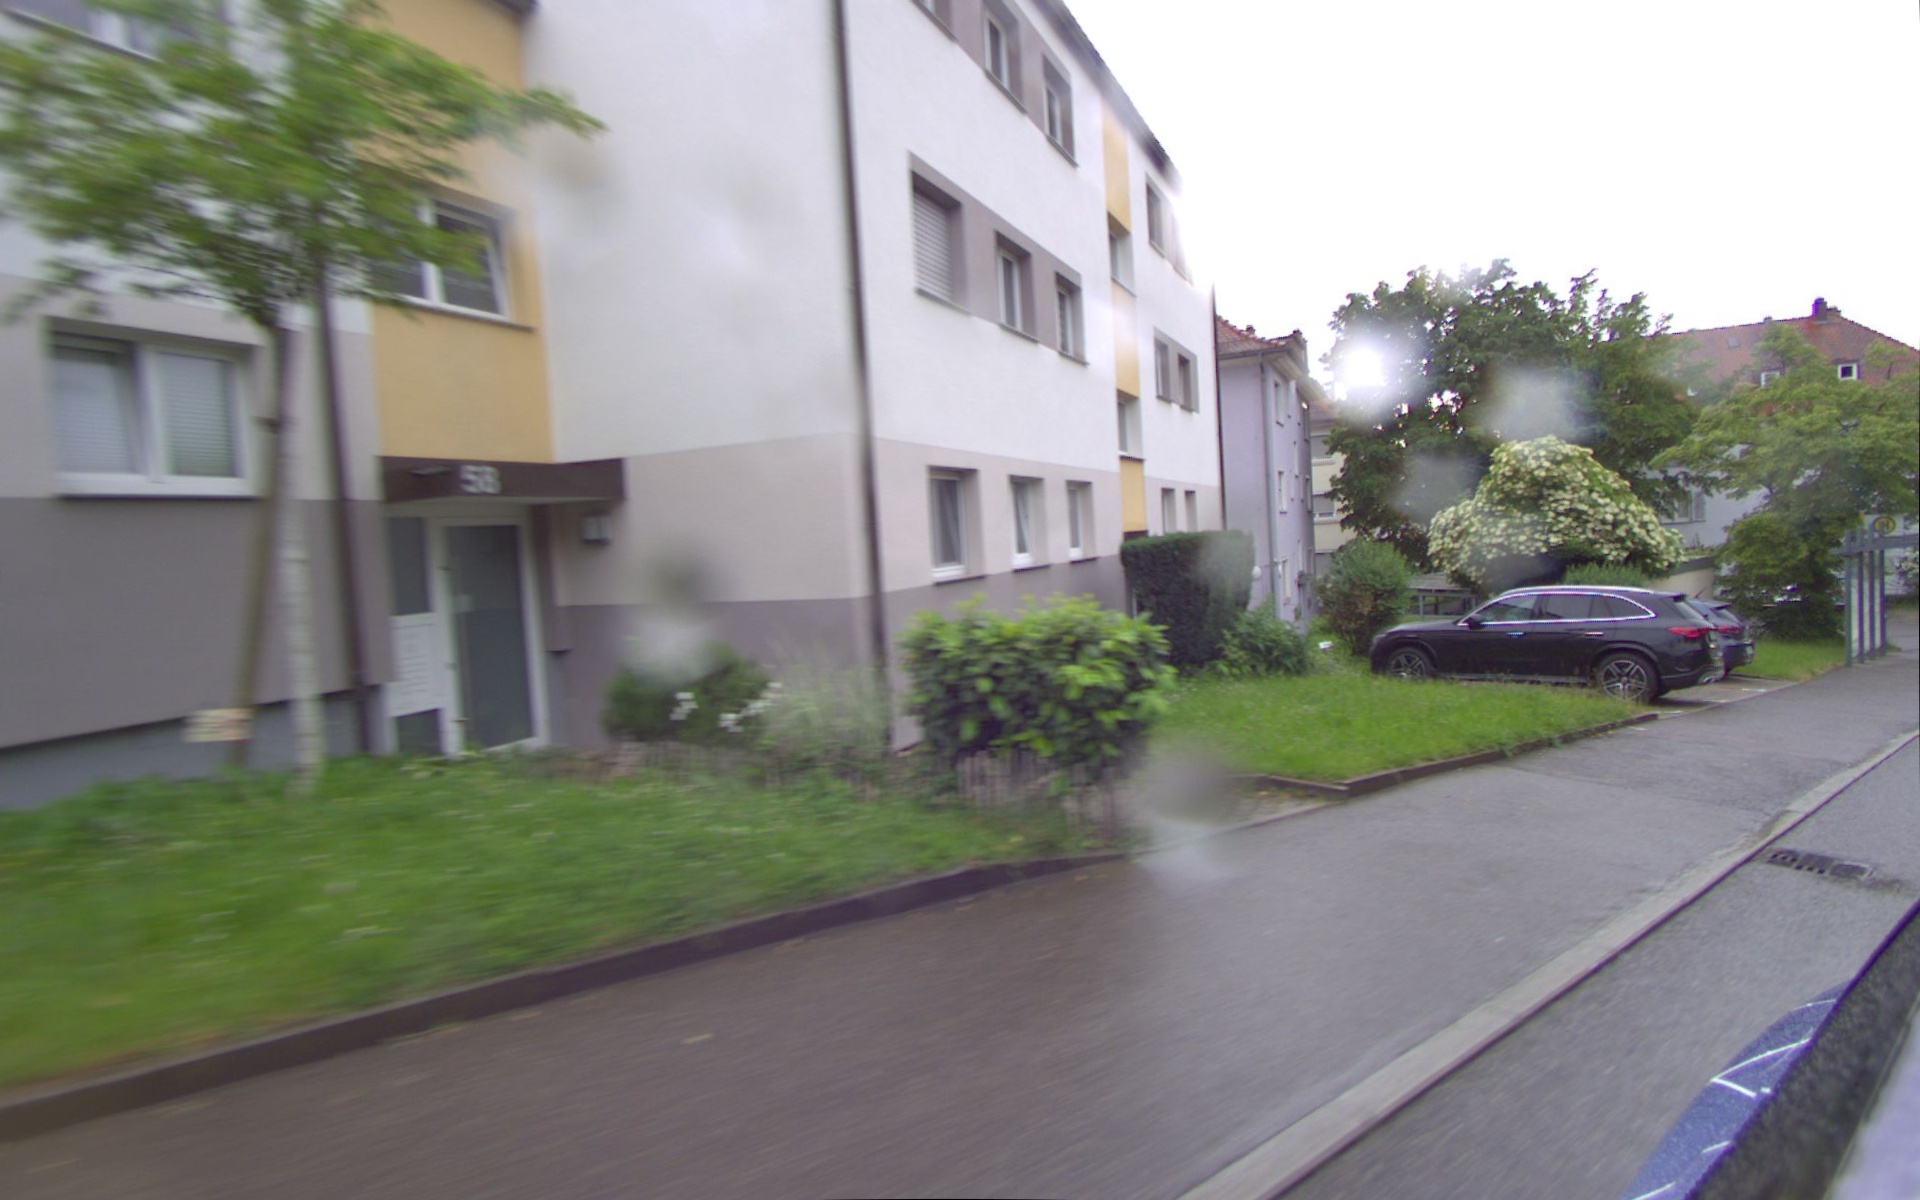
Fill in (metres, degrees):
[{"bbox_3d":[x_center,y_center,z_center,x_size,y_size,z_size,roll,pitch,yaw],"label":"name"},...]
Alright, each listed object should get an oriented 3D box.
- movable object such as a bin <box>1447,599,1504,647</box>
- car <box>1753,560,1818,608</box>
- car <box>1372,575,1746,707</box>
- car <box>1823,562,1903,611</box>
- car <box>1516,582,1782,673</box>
[{"bbox_3d":[15.759,0.709,30.955,1.099,1.412,1.140,-1,-2,-37],"label":"movable object such as a bin"},{"bbox_3d":[33.651,-0.704,41.343,1.786,1.611,4.204,3,7,37],"label":"car"},{"bbox_3d":[8.783,0.477,15.131,4.526,1.681,1.827,2,1,44],"label":"car"},{"bbox_3d":[35.903,-0.576,40.331,1.712,1.581,3.755,2,6,32],"label":"car"},{"bbox_3d":[12.573,0.427,18.630,1.694,1.477,3.750,0,1,-41],"label":"car"}]
